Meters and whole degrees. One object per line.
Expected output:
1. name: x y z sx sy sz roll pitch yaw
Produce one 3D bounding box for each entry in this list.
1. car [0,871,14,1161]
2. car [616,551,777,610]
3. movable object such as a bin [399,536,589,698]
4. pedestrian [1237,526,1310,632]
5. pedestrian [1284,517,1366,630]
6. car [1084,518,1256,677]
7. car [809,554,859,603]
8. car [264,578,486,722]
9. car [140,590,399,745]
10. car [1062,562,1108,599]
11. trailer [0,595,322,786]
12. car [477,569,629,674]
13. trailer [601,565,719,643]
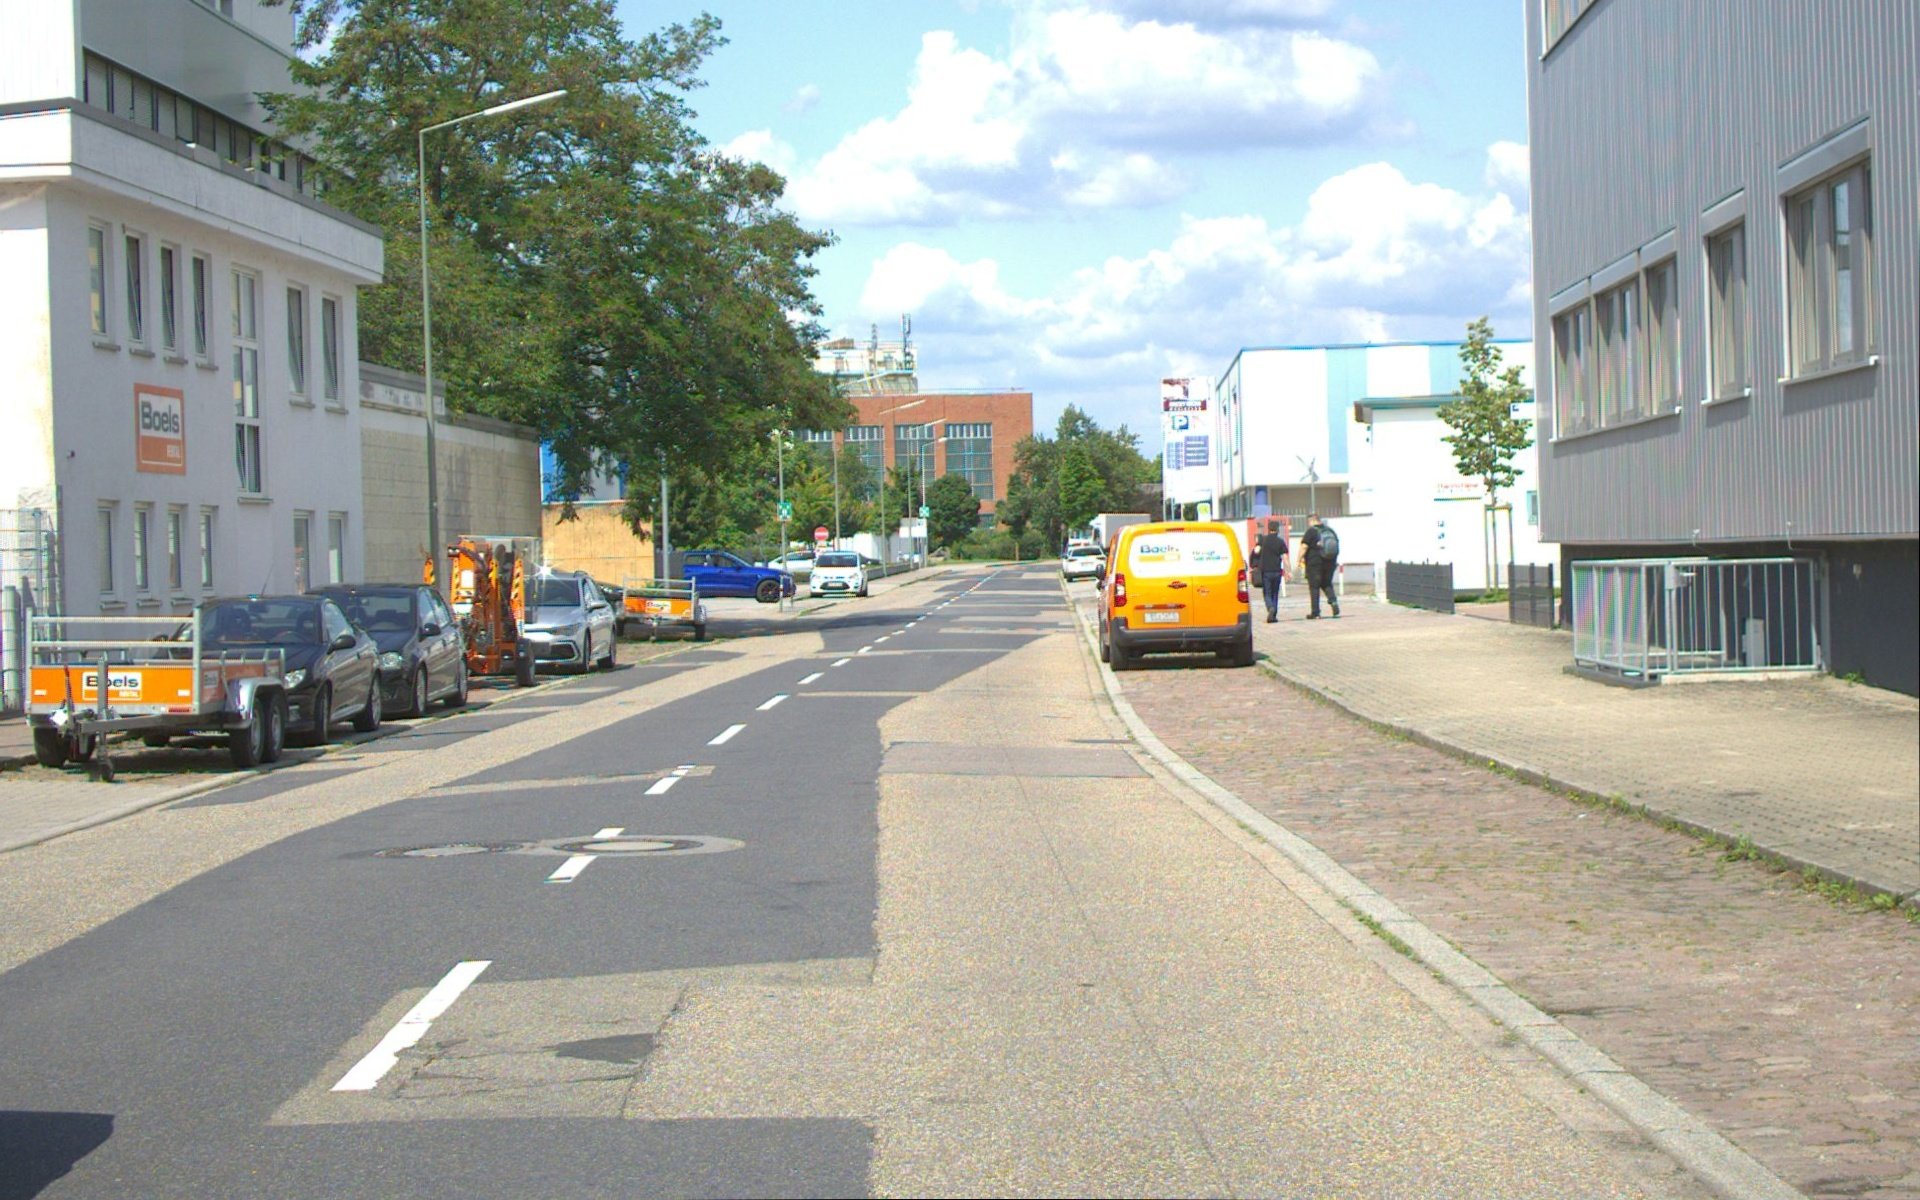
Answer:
1. car: -3.278 0.754 6.812 1.735 1.437 4.000 -3 0 -2
2. car: -8.132 -0.610 105.952 4.685 1.588 1.916 -3 1 -12
3. movable object such as a bin: -5.913 0.173 44.161 1.614 1.912 5.138 2 1 1
4. pedestrian: 5.507 -0.366 60.463 0.856 1.801 1.006 -3 0 -21
5. pedestrian: 6.494 -0.467 61.189 0.989 1.945 1.091 -3 0 -21
6. car: 2.681 -0.040 44.744 1.872 1.886 4.453 2 0 0
7. car: -4.319 -0.746 117.870 1.685 1.658 4.000 -1 1 -2
8. car: -6.204 0.493 36.827 1.673 1.450 4.224 0 0 0
9. car: -6.448 0.592 32.467 1.673 1.372 3.884 0 0 0
10. car: 5.378 -0.851 147.824 1.867 1.515 4.598 -1 0 1
11. trailer: -6.465 0.660 27.617 1.767 1.372 5.051 0 0 0
12. car: -5.811 0.287 49.556 1.673 1.450 4.514 0 0 0
13. trailer: -5.762 0.067 66.441 1.767 1.434 4.336 1 0 2
